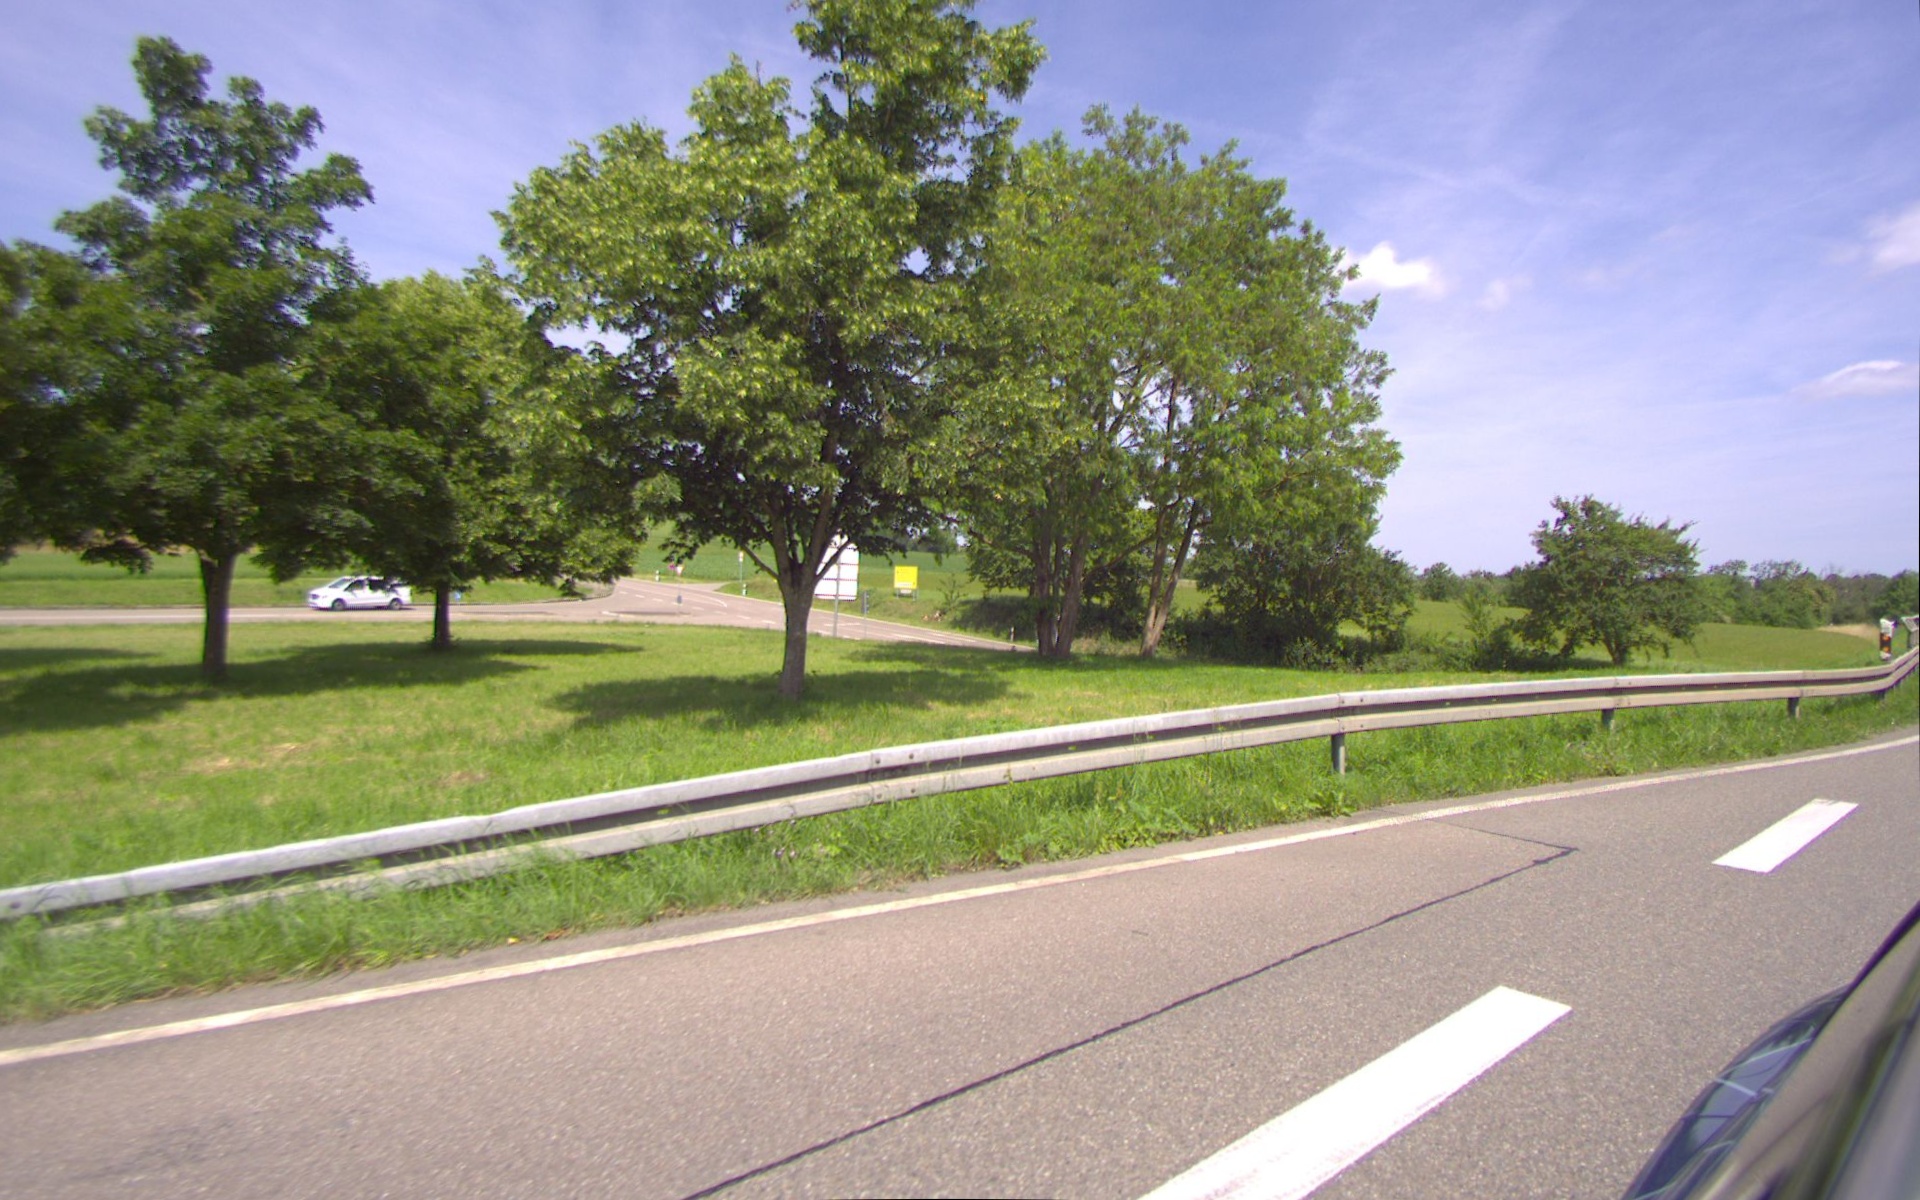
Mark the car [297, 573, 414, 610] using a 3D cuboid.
[{"bbox_3d":[-34.106,-0.495,57.240,1.985,1.869,5.360,4,2,31],"label":"car"}]
